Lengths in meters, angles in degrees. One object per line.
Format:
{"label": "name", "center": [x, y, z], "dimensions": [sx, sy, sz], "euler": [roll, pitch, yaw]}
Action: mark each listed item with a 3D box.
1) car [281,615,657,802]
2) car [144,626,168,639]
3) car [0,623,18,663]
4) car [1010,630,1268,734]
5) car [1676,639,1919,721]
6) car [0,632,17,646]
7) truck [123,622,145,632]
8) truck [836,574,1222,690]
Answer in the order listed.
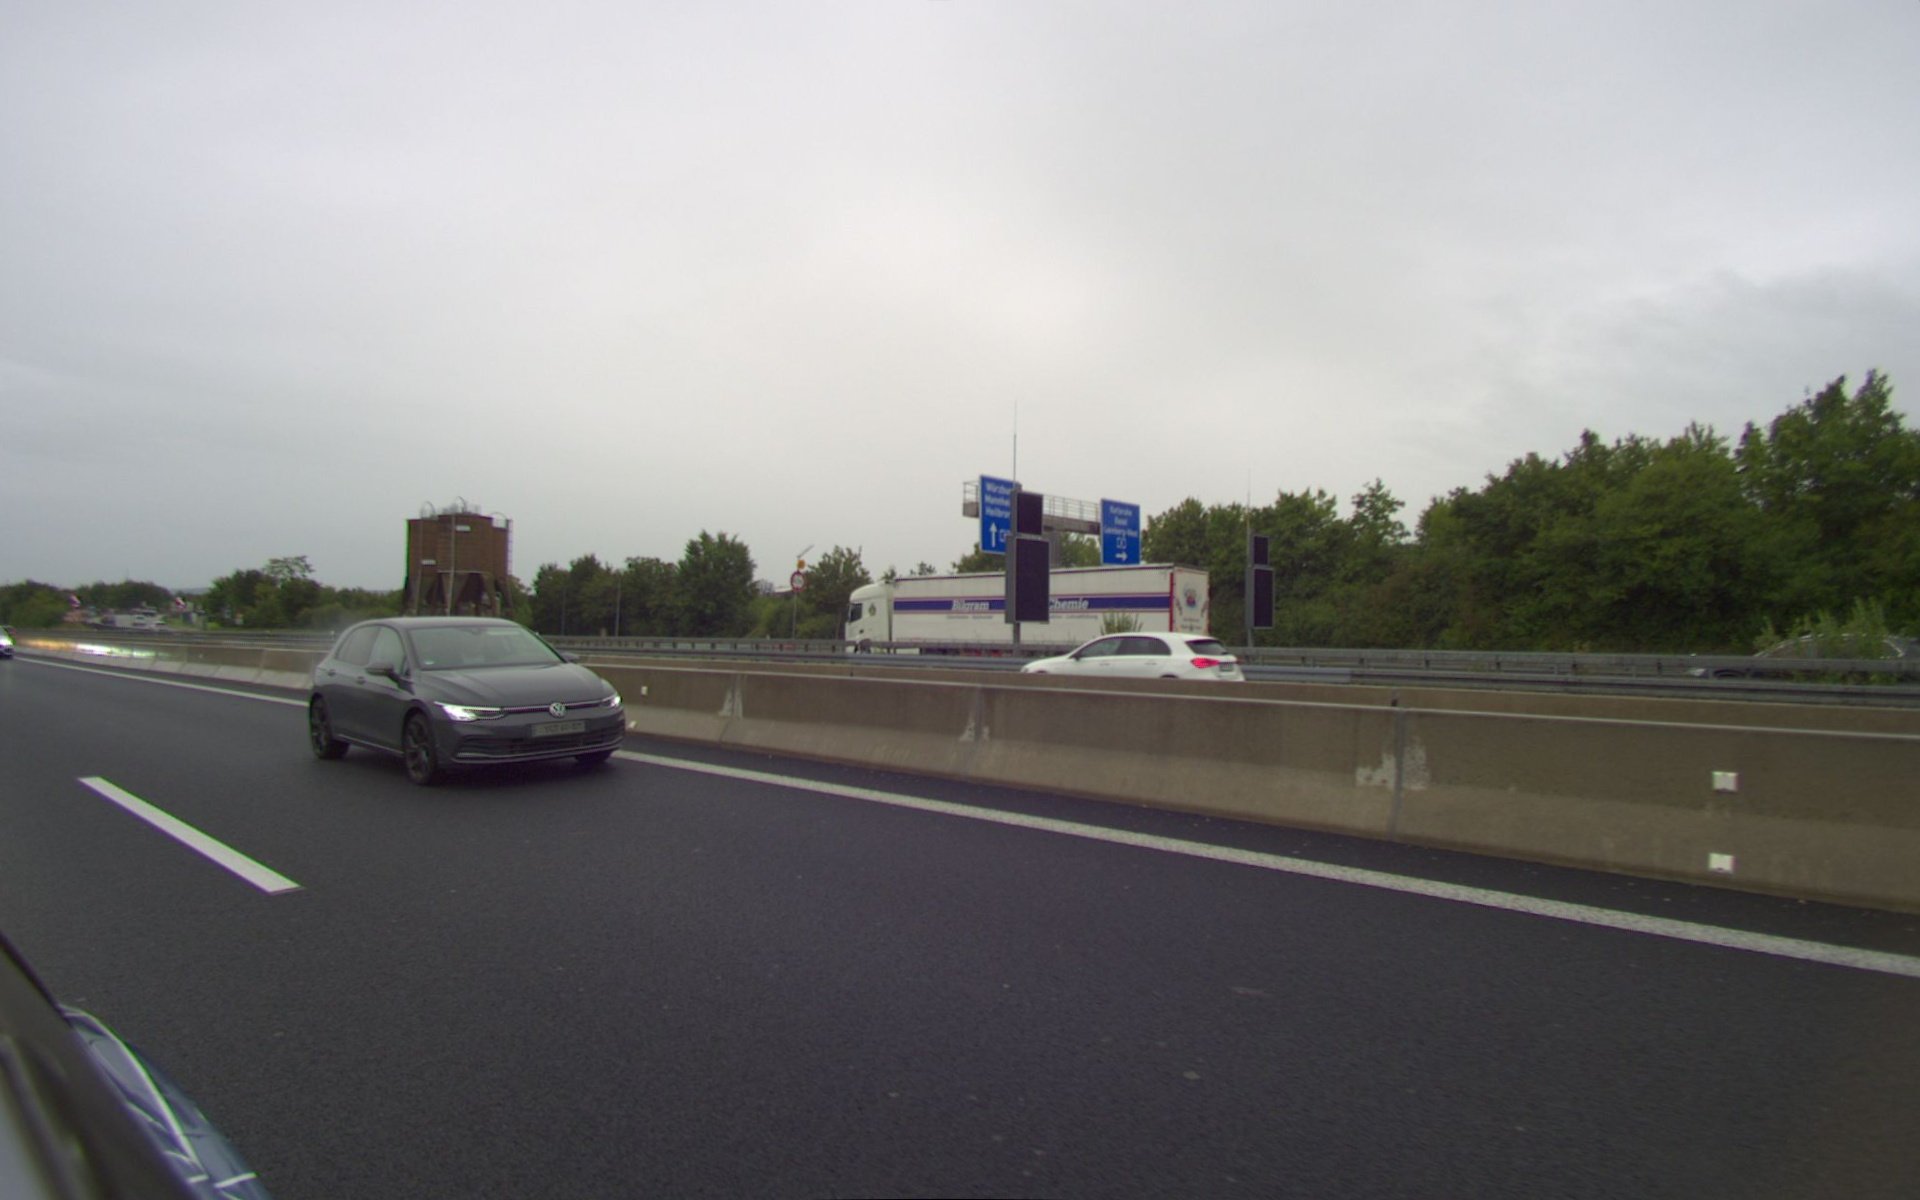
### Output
{"label": "car", "center": [-5.026, 0.907, 10.070], "dimensions": [4.365, 1.436, 1.811], "euler": [-2, -1, 41]}
{"label": "car", "center": [-116.456, 4.733, 146.579], "dimensions": [4.503, 1.775, 1.973], "euler": [-2, -2, 41]}
{"label": "car", "center": [-40.504, 1.781, 41.749], "dimensions": [4.815, 1.603, 1.972], "euler": [-2, -1, 42]}
{"label": "car", "center": [3.225, 1.403, 18.705], "dimensions": [4.311, 1.674, 1.973], "euler": [-2, -2, 41]}
{"label": "car", "center": [17.816, 1.623, 21.533], "dimensions": [4.046, 1.495, 1.555], "euler": [-1, 0, 42]}
{"label": "car", "center": [-93.866, 3.815, 99.128], "dimensions": [4.443, 1.402, 1.836], "euler": [-2, -2, 42]}
{"label": "truck", "center": [-143.340, 4.690, 175.551], "dimensions": [5.400, 1.657, 1.974], "euler": [-1, 0, 40]}
{"label": "truck", "center": [1.917, 1.305, 40.549], "dimensions": [17.129, 3.838, 3.144], "euler": [-1, -4, 42]}
